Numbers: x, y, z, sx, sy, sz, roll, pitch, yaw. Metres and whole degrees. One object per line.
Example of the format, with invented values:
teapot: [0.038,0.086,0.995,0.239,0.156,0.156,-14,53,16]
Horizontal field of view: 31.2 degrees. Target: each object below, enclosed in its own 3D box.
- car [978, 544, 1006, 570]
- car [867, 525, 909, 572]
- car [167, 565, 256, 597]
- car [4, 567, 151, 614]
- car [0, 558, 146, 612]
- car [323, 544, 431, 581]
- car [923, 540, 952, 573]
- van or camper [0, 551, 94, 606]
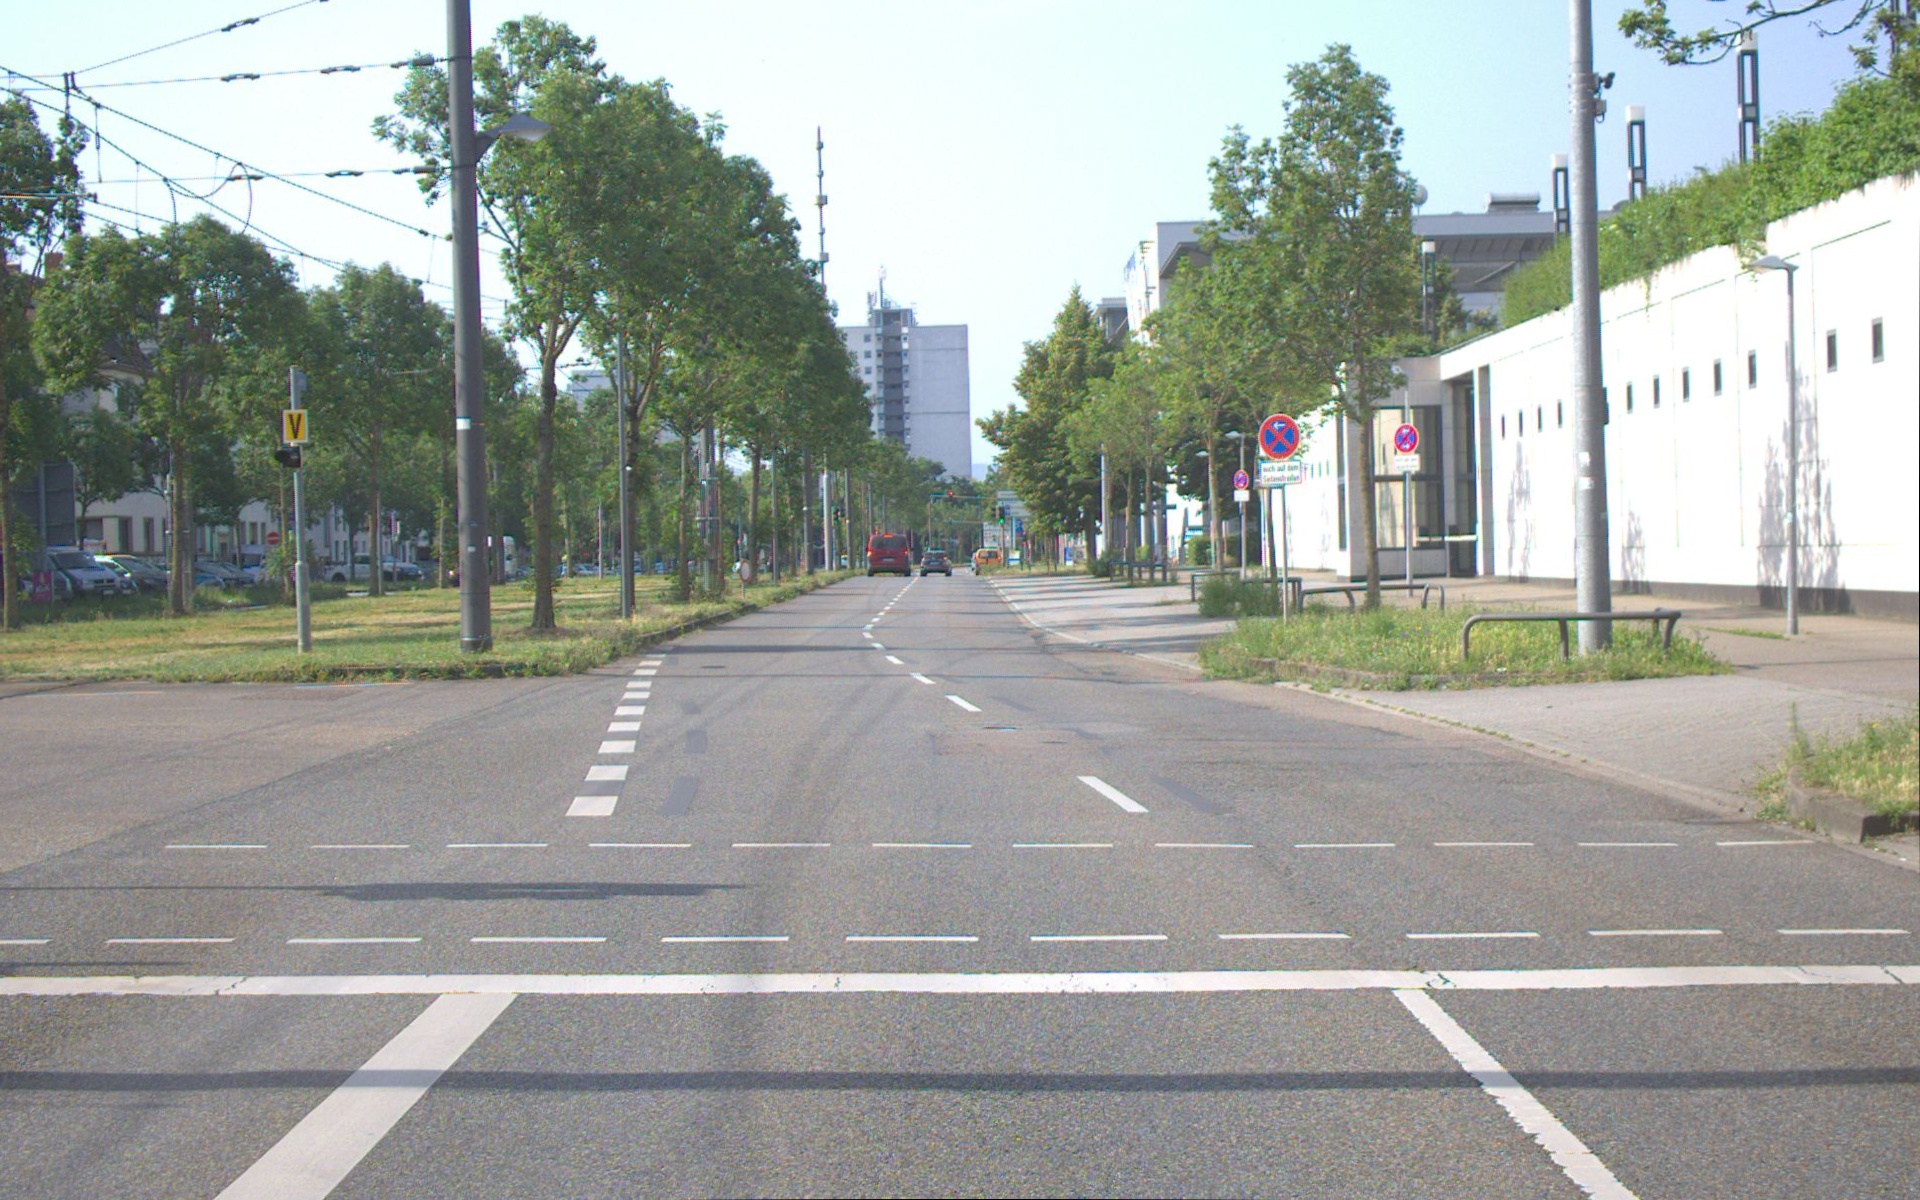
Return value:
car: [2.084,-2.772,223.647,1.748,1.645,3.215,1,0,1]
car: [-3.189,-2.266,152.495,1.748,2.007,3.215,1,0,1]
car: [-28.319,-0.722,130.064,3.160,1.157,1.494,1,0,32]
car: [-28.378,-0.304,110.543,4.470,1.414,1.972,1,0,30]
car: [-28.125,-0.470,107.460,5.214,1.618,2.053,1,0,31]
car: [-28.738,-1.869,169.393,5.320,1.732,1.996,1,0,34]
car: [-1.419,-2.755,218.350,1.748,2.007,3.215,1,0,1]
van or camper: [-28.855,-0.666,104.801,4.843,1.618,1.999,1,0,33]
